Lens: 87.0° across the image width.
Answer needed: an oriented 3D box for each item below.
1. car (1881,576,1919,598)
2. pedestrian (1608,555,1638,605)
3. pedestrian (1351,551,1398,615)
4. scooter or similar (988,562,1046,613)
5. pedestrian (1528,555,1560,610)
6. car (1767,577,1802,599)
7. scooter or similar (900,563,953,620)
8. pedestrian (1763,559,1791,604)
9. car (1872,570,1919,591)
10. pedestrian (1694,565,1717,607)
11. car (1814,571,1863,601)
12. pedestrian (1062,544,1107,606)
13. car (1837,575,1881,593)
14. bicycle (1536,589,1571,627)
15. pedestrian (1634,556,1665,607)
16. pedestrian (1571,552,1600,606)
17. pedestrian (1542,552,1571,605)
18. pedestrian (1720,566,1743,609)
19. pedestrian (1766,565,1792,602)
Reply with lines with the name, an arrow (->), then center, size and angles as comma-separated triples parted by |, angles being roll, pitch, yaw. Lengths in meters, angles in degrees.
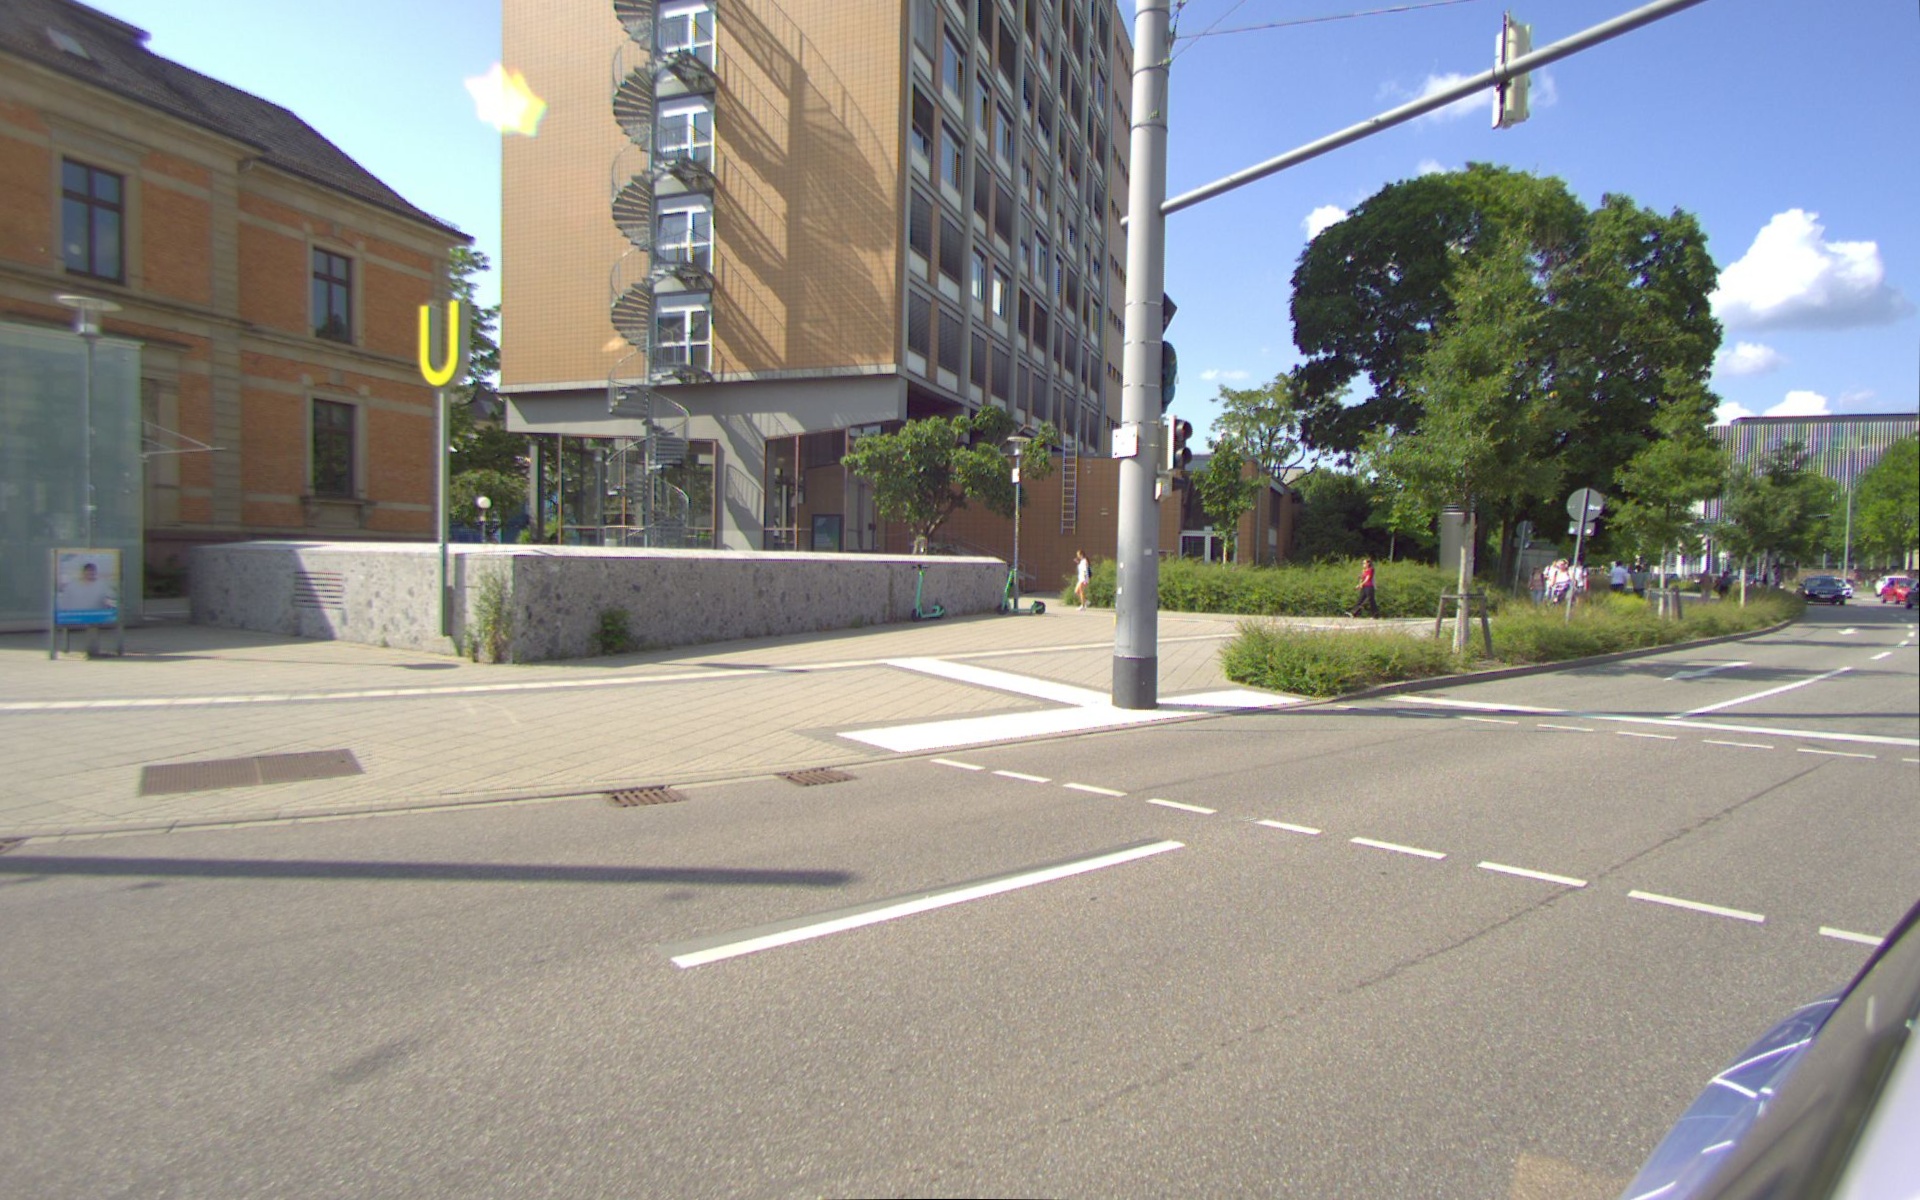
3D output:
car -> 52.232, -0.738, 55.826 | 1.588, 1.148, 3.584 | 1, 2, 35
pedestrian -> 24.662, -0.753, 37.645 | 0.742, 1.767, 0.877 | 5, 5, 40
pedestrian -> 10.958, -0.461, 26.760 | 0.871, 1.641, 0.617 | 1, 4, -13
scooter or similar -> 1.324, -0.296, 23.550 | 1.294, 1.117, 0.466 | 2, 2, 1
pedestrian -> 18.056, -0.551, 31.288 | 0.613, 1.641, 0.877 | 5, 5, 40
car -> 58.104, -0.894, 71.294 | 1.819, 1.481, 3.943 | 2, 2, 40
scooter or similar -> -0.675, -0.199, 21.014 | 0.461, 1.131, 1.434 | 3, 3, 26
pedestrian -> 37.508, -0.842, 46.478 | 0.962, 2.039, 0.756 | 0, 1, 44
car -> 64.733, -1.380, 69.313 | 1.755, 1.371, 3.981 | 0, 2, 16
pedestrian -> 31.325, -0.588, 42.513 | 0.764, 1.756, 0.709 | 0, 1, 38
car -> 46.575, -0.780, 53.635 | 1.821, 1.481, 3.939 | 2, 2, 43
pedestrian -> 3.416, -0.697, 27.796 | 1.082, 1.641, 0.613 | 3, 4, 17
car -> 59.790, -1.096, 67.385 | 1.900, 1.148, 4.047 | 2, 2, 38
bicycle -> 14.972, 0.178, 25.515 | 0.644, 0.892, 1.800 | 1, 2, 34
pedestrian -> 25.258, -0.690, 37.088 | 0.741, 1.774, 0.877 | 5, 5, 40
pedestrian -> 20.716, -0.699, 33.512 | 0.613, 1.720, 0.877 | 5, 5, 40
pedestrian -> 20.058, -0.738, 34.014 | 0.613, 1.720, 0.877 | 5, 5, 40
pedestrian -> 32.403, -0.536, 42.493 | 0.764, 1.756, 0.709 | 0, 1, 38
pedestrian -> 39.179, -0.800, 48.407 | 0.925, 1.756, 0.756 | 0, 1, 44
